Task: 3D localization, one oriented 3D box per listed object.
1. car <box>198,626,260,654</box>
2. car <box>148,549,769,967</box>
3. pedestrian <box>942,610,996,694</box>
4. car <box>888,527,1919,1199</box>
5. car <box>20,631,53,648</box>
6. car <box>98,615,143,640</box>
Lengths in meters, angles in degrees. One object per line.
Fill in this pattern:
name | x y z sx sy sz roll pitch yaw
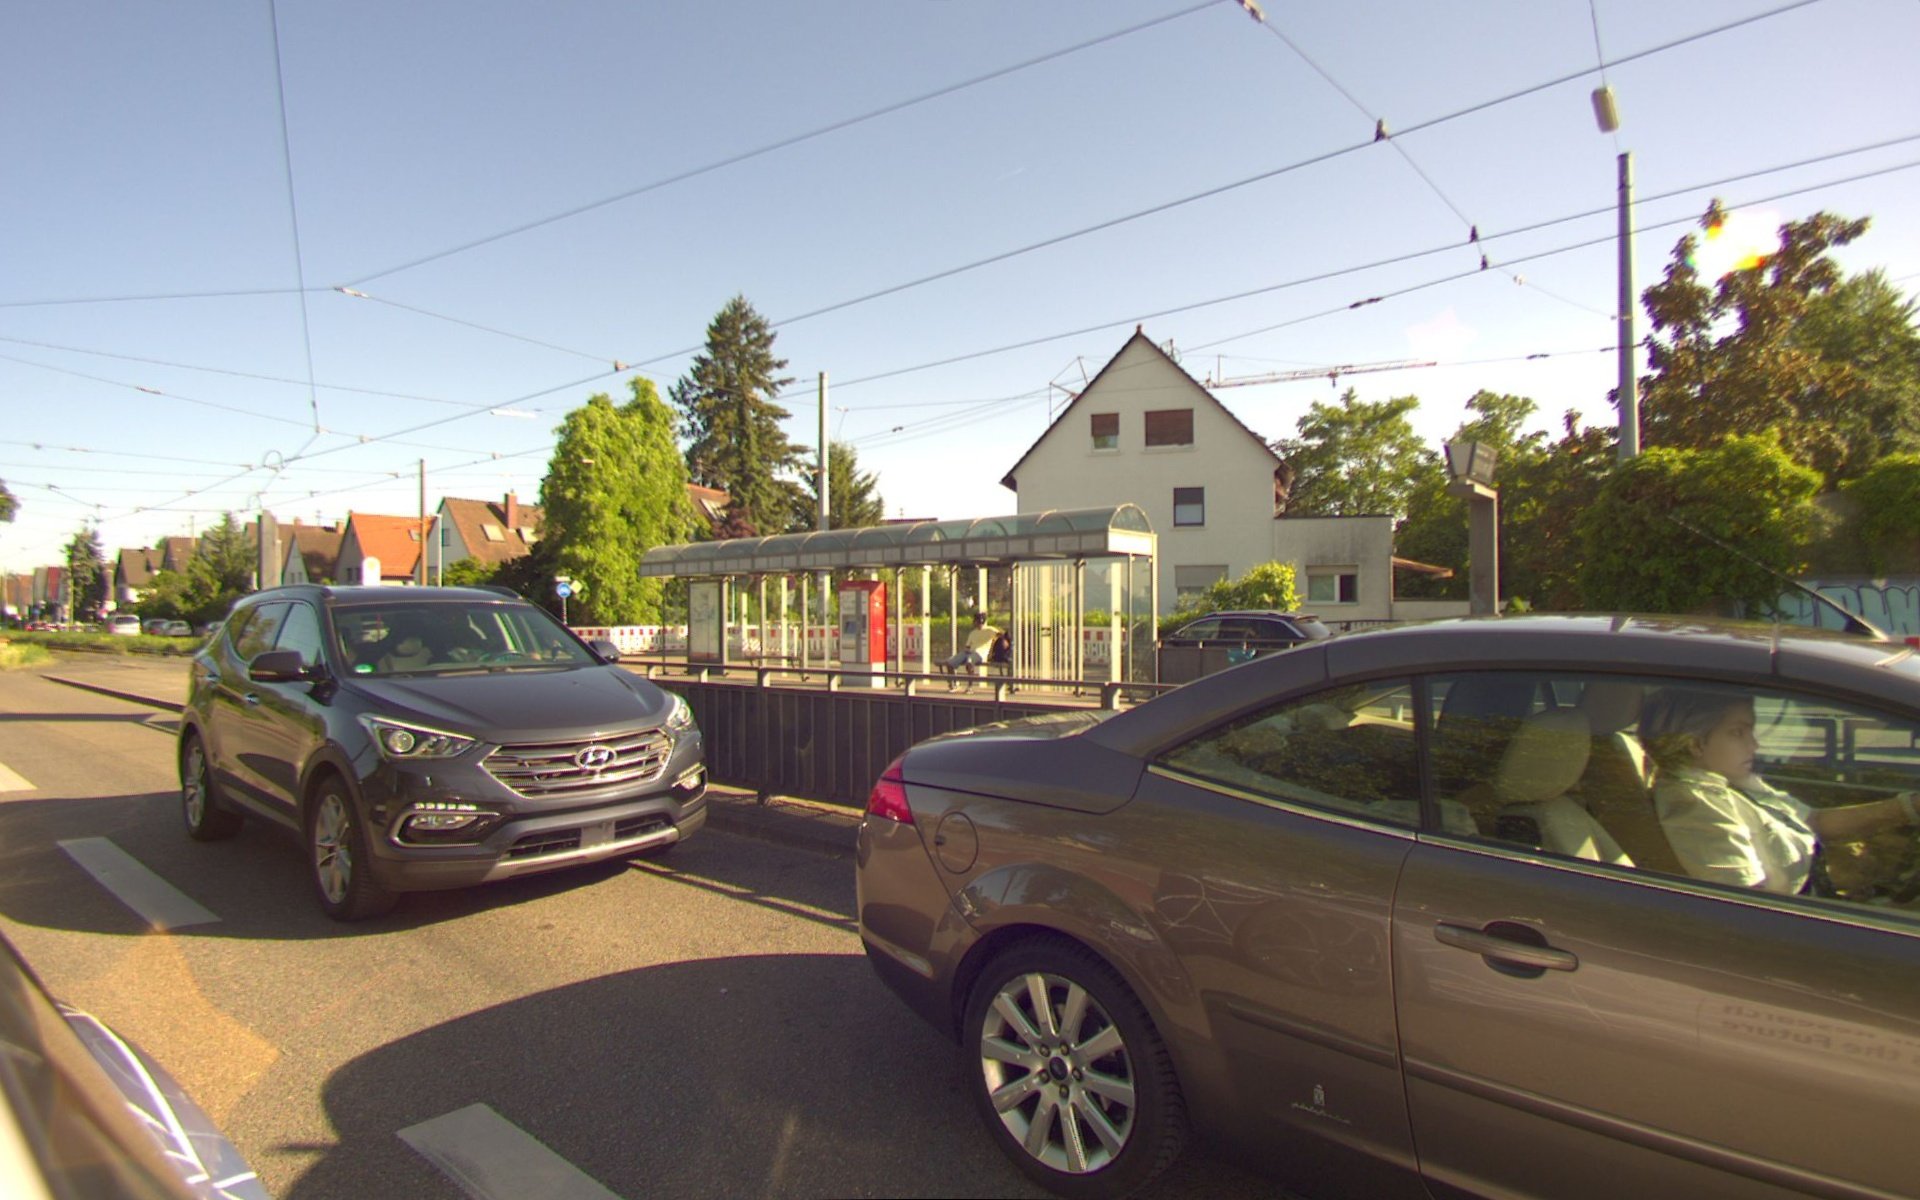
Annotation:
car | -40.236 2.189 55.688 3.999 1.475 1.972 -2 -2 42
car | -3.292 0.705 6.249 4.296 1.709 1.862 -2 -2 40
pedestrian | 0.157 0.885 17.473 0.710 1.425 0.616 -2 -2 39
car | 1.983 0.678 2.065 4.189 1.546 1.733 -2 -2 38
car | -90.974 3.864 99.654 3.998 1.674 1.973 -2 -2 41
car | -62.639 2.044 75.475 3.999 1.785 1.972 -2 -2 42
